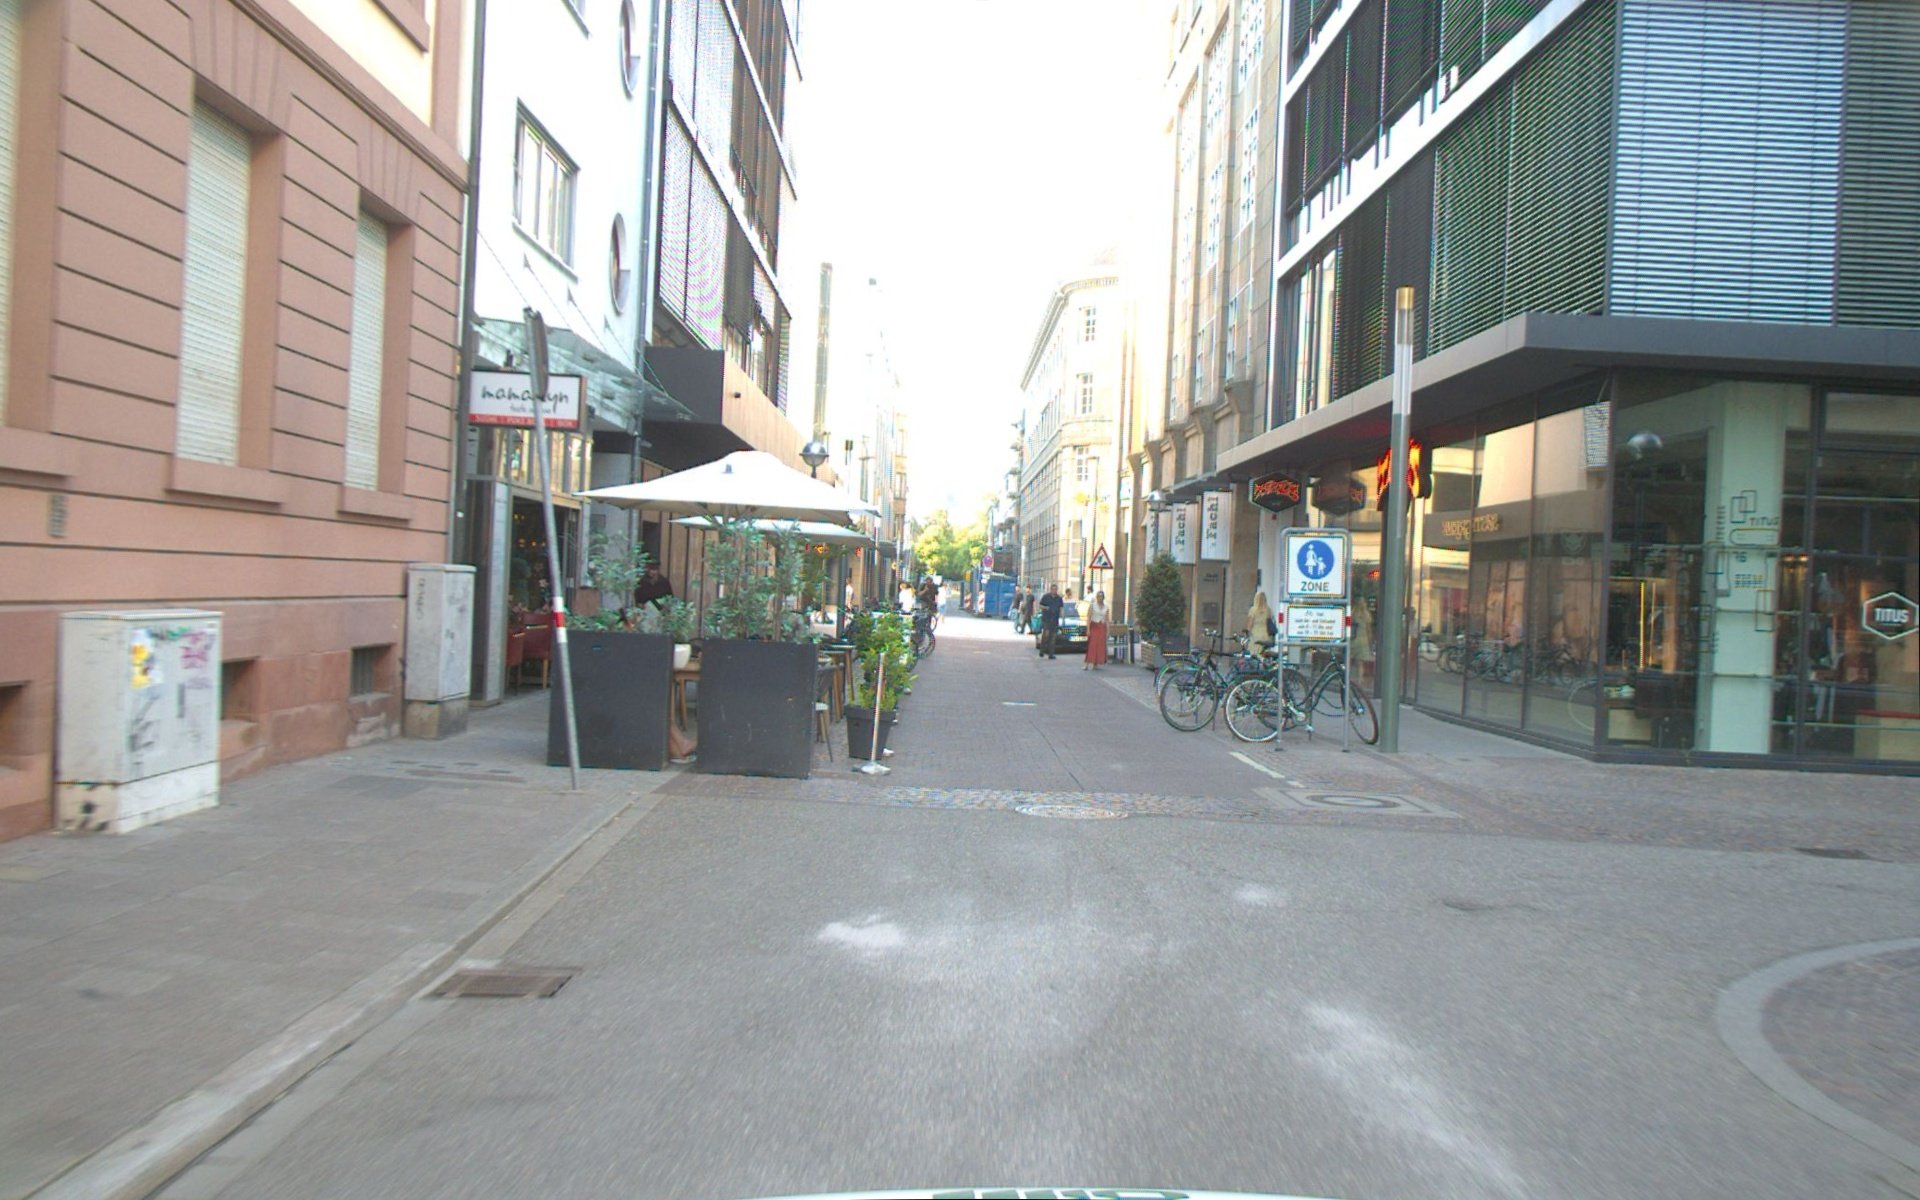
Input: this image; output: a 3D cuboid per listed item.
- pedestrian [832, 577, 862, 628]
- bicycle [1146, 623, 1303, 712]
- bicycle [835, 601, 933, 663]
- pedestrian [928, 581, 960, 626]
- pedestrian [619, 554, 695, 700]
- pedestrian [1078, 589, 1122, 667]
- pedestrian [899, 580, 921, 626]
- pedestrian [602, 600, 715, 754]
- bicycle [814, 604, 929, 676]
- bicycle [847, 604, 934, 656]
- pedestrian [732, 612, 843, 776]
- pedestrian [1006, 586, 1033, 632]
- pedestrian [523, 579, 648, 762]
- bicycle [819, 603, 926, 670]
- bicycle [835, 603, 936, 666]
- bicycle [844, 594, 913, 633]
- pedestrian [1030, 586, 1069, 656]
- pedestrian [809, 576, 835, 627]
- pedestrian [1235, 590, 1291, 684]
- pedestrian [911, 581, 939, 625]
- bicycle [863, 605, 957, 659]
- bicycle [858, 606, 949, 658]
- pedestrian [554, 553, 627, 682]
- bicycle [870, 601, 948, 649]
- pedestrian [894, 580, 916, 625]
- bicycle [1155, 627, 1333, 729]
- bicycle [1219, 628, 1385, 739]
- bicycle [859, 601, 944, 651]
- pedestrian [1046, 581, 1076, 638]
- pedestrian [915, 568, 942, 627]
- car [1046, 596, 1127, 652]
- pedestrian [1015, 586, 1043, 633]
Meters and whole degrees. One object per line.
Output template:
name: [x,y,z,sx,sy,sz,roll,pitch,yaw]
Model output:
pedestrian: [-4.322,0.086,63.383,1.004,1.891,0.906,2,0,-1]
bicycle: [3.469,0.886,21.742,1.993,1.141,0.467,0,0,-2]
bicycle: [-1.551,0.653,33.853,1.908,1.093,0.467,5,0,-2]
pedestrian: [-0.629,0.138,67.303,0.988,1.764,0.982,2,0,18]
pedestrian: [-3.585,0.315,19.618,0.775,1.677,0.724,2,0,-6]
pedestrian: [2.922,0.574,34.605,0.781,1.593,0.859,2,0,0]
pedestrian: [-2.110,0.126,70.003,0.886,1.891,0.835,2,0,-1]
pedestrian: [-2.514,0.630,13.862,0.774,1.204,0.673,4,0,-3]
bicycle: [-1.531,0.697,28.773,1.908,1.093,0.467,5,0,-2]
bicycle: [-1.656,0.708,39.604,2.007,1.068,0.467,5,0,-2]
pedestrian: [-1.359,0.724,13.020,0.775,1.204,0.673,4,0,-6]
pedestrian: [2.225,0.340,61.707,0.886,1.690,0.793,2,0,-3]
pedestrian: [-2.938,0.541,13.036,0.774,1.354,0.673,4,0,-3]
bicycle: [-1.632,0.678,31.047,1.908,1.093,0.467,5,0,-2]
bicycle: [-1.472,0.682,32.712,1.908,1.093,0.467,5,0,-2]
bicycle: [-2.489,0.413,50.446,2.007,1.030,0.467,5,0,-2]
pedestrian: [2.215,0.518,40.996,0.880,1.690,0.930,2,0,0]
pedestrian: [-5.240,0.063,62.853,0.886,1.891,0.835,2,0,-1]
pedestrian: [5.267,0.635,28.783,0.781,1.593,0.859,2,0,2]
pedestrian: [-1.430,0.116,67.559,0.843,1.764,0.934,2,0,18]
bicycle: [-1.120,0.720,36.941,2.007,1.034,0.467,5,0,-2]
bicycle: [-1.299,0.726,38.059,2.007,1.034,0.467,5,0,-2]
pedestrian: [-4.991,0.232,22.296,0.843,1.688,0.796,2,0,-18]
bicycle: [-1.363,0.676,44.248,2.007,1.114,0.467,5,0,-2]
pedestrian: [-2.349,0.117,70.866,0.886,1.891,0.835,2,0,-1]
bicycle: [3.253,0.890,19.010,1.969,1.141,0.467,0,0,-2]
bicycle: [3.615,0.879,17.550,1.663,1.156,0.467,0,0,-2]
bicycle: [-1.442,0.642,40.908,2.007,1.068,0.467,5,0,-2]
pedestrian: [3.425,0.321,56.081,0.886,1.891,0.835,2,0,-2]
pedestrian: [-1.028,-0.092,54.150,0.816,1.891,0.907,2,0,-2]
car: [3.484,0.640,46.223,1.719,1.466,3.926,1,0,-3]
pedestrian: [2.548,0.351,61.028,0.886,1.690,0.793,2,0,-3]
